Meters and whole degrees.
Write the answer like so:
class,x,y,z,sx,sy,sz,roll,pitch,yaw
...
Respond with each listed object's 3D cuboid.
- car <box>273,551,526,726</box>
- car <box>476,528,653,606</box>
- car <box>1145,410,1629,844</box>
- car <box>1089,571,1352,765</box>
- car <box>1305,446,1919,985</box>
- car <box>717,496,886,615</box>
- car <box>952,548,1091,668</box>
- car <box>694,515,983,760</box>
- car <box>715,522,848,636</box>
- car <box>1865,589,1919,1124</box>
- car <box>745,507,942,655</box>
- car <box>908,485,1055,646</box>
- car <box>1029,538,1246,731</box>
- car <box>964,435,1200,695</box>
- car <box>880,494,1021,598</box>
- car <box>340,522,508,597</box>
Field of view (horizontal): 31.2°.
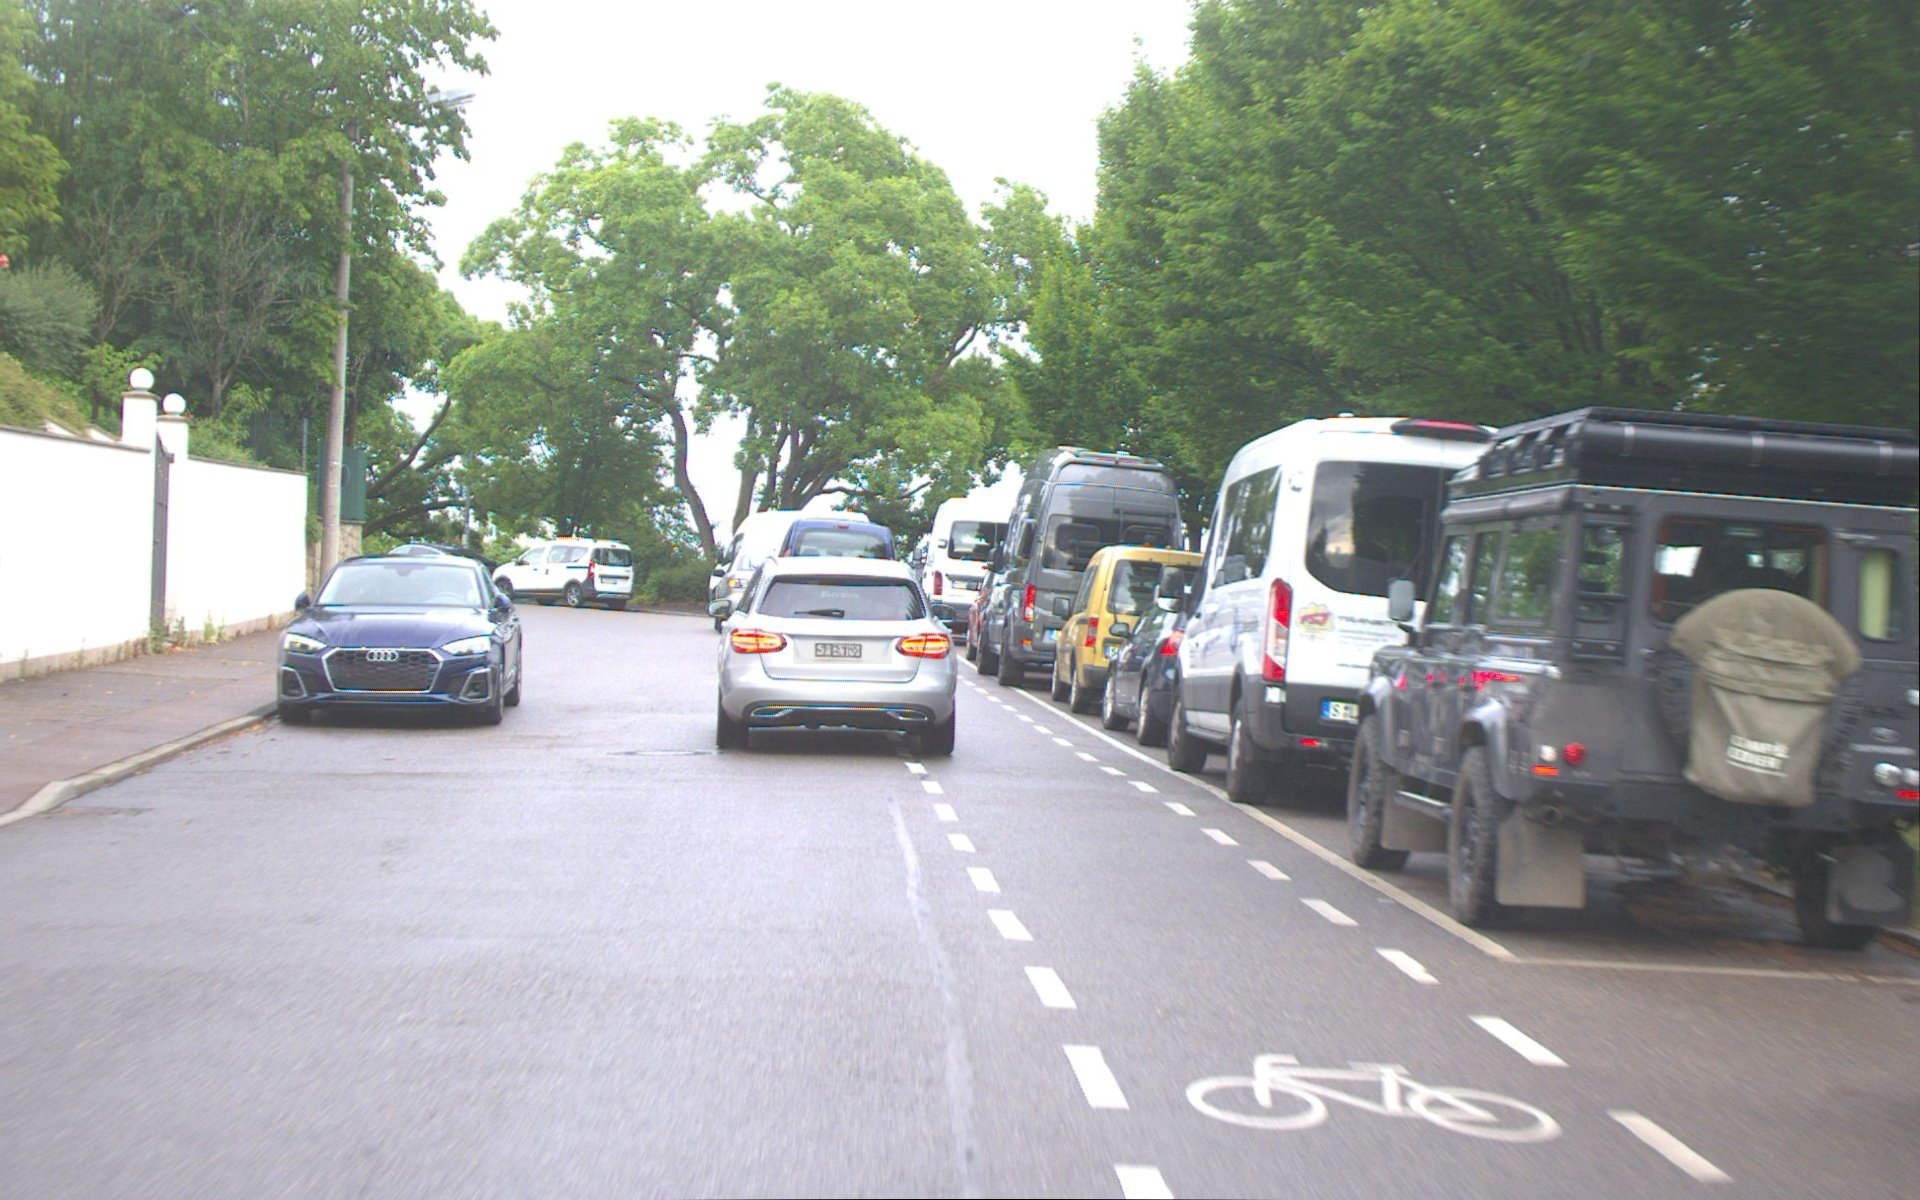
class,x,y,z,sx,sy,sz,roll,pitch,yaw
car,-4.767,0.279,29.738,1.748,1.353,4.426,1,1,-4
car,-10.560,-0.897,91.615,4.492,1.692,1.966,5,1,38
car,2.778,0.120,24.067,2.173,2.484,6.034,5,1,-3
car,2.290,0.562,31.283,1.671,1.453,4.224,6,1,-4
car,3.083,0.442,16.222,1.993,2.045,5.122,4,0,-3
car,-3.815,-1.081,81.972,2.125,2.518,4.497,4,1,-28
car,0.854,0.087,49.335,1.583,1.522,3.586,5,1,-4
car,-1.001,0.231,26.758,2.025,1.702,4.216,2,1,-4
car,-2.926,-0.330,57.071,1.993,1.702,4.000,4,0,-1
car,3.665,0.801,9.090,1.596,1.553,2.955,3,1,-2
car,-1.560,-0.246,44.659,1.993,1.702,4.001,4,0,-9
car,0.322,-0.614,58.949,2.064,2.486,4.760,5,1,-3
car,1.843,0.309,36.918,1.727,1.779,4.276,6,1,-3
car,1.434,-0.467,43.096,2.124,2.877,5.770,5,1,-4
car,-0.244,-1.167,72.536,2.063,1.953,4.498,4,1,-10
car,-14.847,-1.133,95.166,4.667,1.692,1.965,5,1,42
